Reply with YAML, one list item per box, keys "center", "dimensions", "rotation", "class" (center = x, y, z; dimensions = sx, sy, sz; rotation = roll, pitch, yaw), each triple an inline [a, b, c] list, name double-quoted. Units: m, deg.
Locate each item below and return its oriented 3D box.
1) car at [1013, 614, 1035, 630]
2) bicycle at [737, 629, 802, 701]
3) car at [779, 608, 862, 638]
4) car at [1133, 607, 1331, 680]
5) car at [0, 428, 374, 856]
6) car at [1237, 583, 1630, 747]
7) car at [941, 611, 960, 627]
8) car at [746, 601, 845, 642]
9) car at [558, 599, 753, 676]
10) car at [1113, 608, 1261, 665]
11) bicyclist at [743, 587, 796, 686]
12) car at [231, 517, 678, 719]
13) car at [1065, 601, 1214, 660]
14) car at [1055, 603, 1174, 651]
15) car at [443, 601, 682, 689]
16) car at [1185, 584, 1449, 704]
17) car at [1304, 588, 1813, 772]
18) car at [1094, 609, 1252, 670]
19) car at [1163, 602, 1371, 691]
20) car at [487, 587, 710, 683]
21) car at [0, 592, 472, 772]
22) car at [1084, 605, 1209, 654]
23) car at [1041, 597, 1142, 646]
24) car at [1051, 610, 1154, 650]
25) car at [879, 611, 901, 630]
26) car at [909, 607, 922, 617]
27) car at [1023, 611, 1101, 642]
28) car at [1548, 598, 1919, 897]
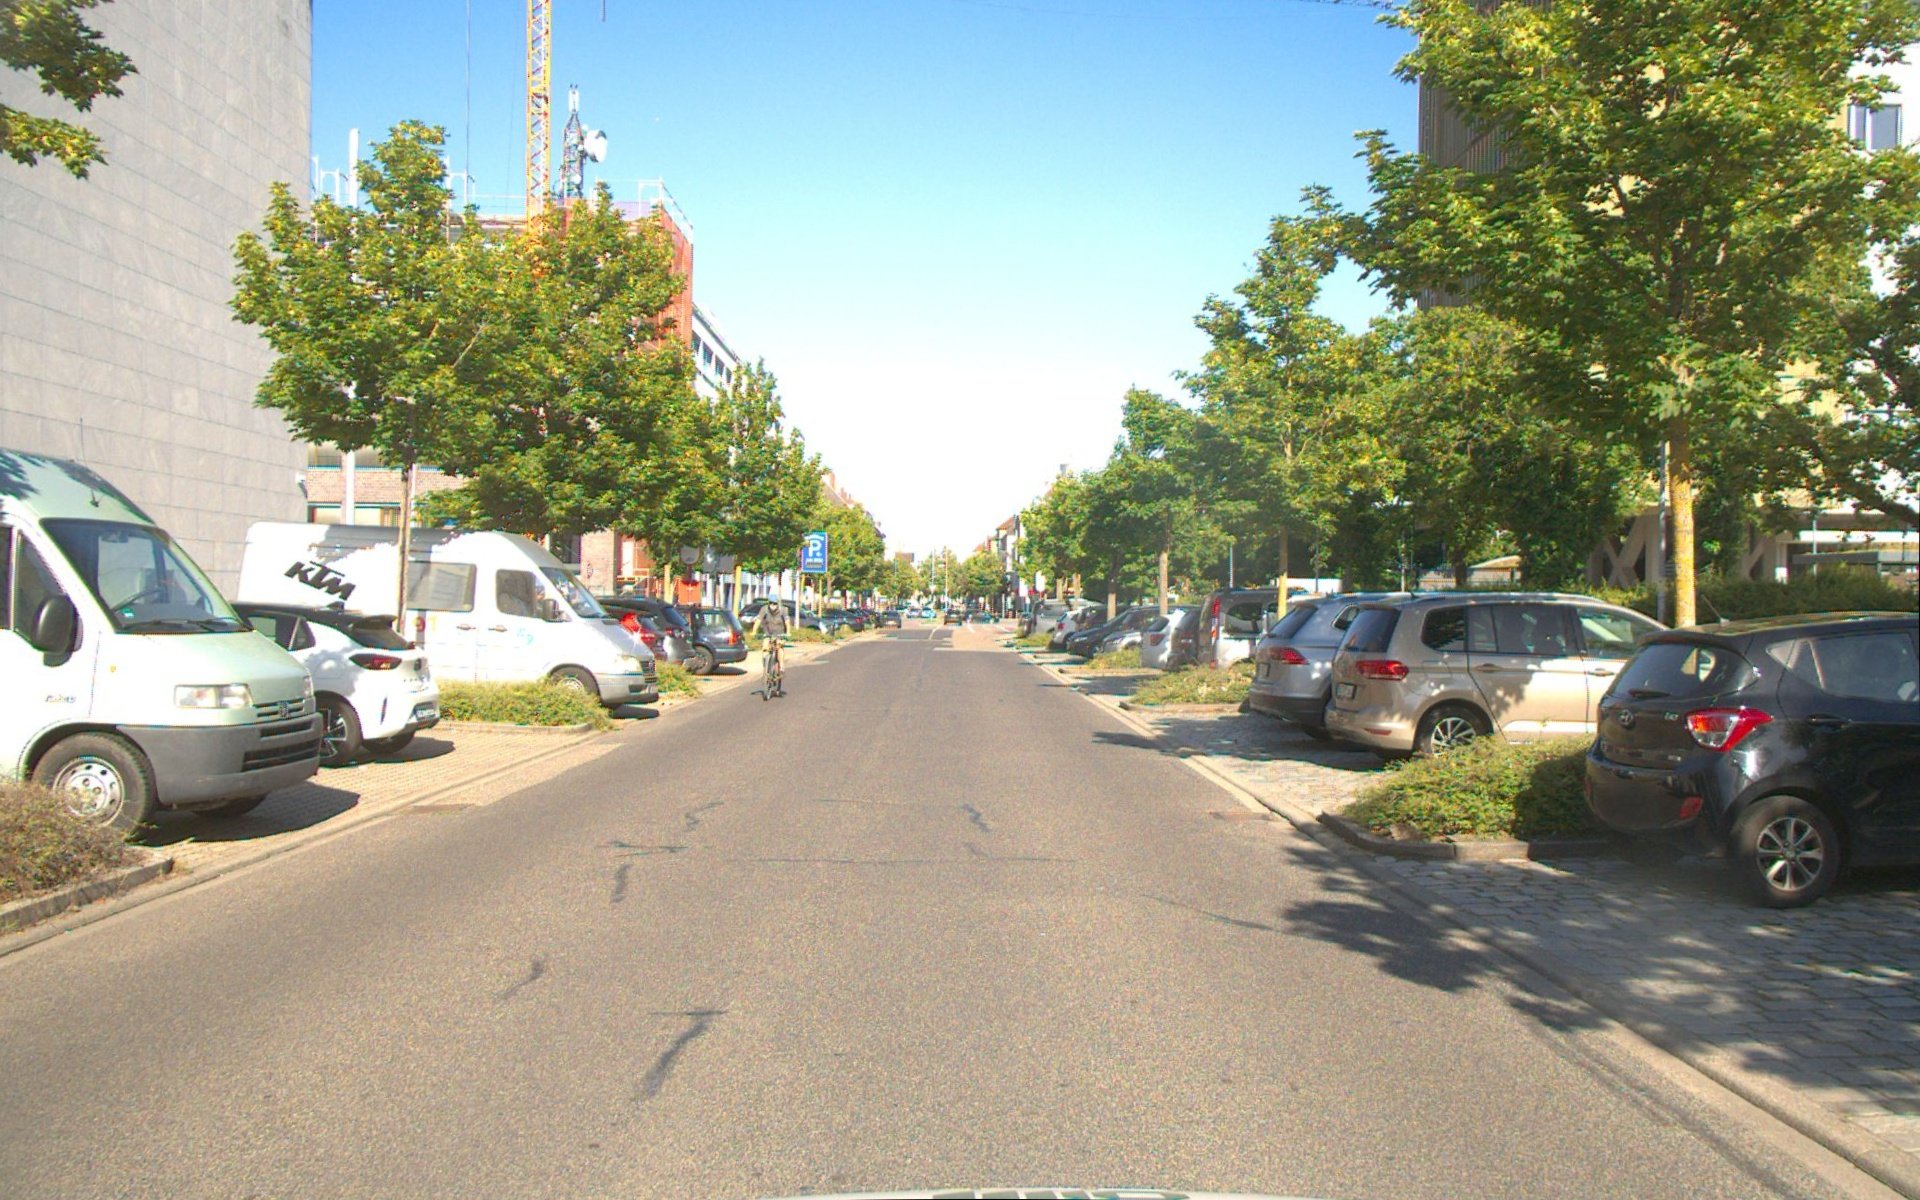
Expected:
- center: [6.537, 2.266, 169.927]
  dimensions: [1.949, 1.500, 4.109]
  rotation: [0, 1, -2]
  class: "car"
- center: [-3.160, 1.062, 27.546]
  dimensions: [0.683, 1.130, 2.080]
  rotation: [-1, 0, 4]
  class: "bicycle"
- center: [-7.271, 1.182, 86.583]
  dimensions: [4.245, 1.500, 1.816]
  rotation: [0, 1, -4]
  class: "car"
- center: [5.779, 0.918, 35.459]
  dimensions: [3.978, 1.451, 1.742]
  rotation: [-1, -1, 1]
  class: "car"
- center: [-6.852, 0.162, 10.839]
  dimensions: [5.141, 2.460, 2.123]
  rotation: [3, 0, 0]
  class: "car"
- center: [5.197, 0.681, 18.526]
  dimensions: [3.821, 1.725, 1.940]
  rotation: [0, 1, -3]
  class: "car"
- center: [-0.955, 1.927, 165.994]
  dimensions: [1.774, 1.500, 4.111]
  rotation: [0, 1, 0]
  class: "car"
- center: [-7.120, 0.922, 71.798]
  dimensions: [4.175, 1.694, 1.599]
  rotation: [0, 0, -1]
  class: "car"
- center: [-6.777, 0.827, 37.184]
  dimensions: [4.048, 1.518, 1.868]
  rotation: [2, 1, -4]
  class: "car"
- center: [6.176, 0.988, 45.257]
  dimensions: [3.785, 1.531, 1.651]
  rotation: [0, 0, -3]
  class: "car"
- center: [-3.165, 0.595, 27.604]
  dimensions: [0.669, 1.608, 1.061]
  rotation: [-1, -1, 4]
  class: "bicyclist"
- center: [-6.824, 0.236, 22.738]
  dimensions: [5.436, 2.452, 1.988]
  rotation: [2, 0, 1]
  class: "car"
- center: [5.113, 0.862, 47.544]
  dimensions: [4.060, 1.607, 1.740]
  rotation: [0, 0, -2]
  class: "car"
- center: [5.296, 0.940, 57.084]
  dimensions: [3.905, 1.610, 2.031]
  rotation: [0, -1, 0]
  class: "car"
- center: [-7.227, 0.811, 30.354]
  dimensions: [3.905, 1.544, 1.855]
  rotation: [0, -1, 0]
  class: "car"
- center: [6.019, 0.718, 28.215]
  dimensions: [4.036, 1.961, 1.978]
  rotation: [0, 1, -3]
  class: "car"
- center: [5.667, 0.722, 16.002]
  dimensions: [4.235, 1.636, 1.910]
  rotation: [0, 0, -4]
  class: "car"
- center: [5.438, 1.003, 42.500]
  dimensions: [3.821, 1.512, 1.742]
  rotation: [0, 0, -1]
  class: "car"
- center: [5.679, 0.855, 30.864]
  dimensions: [3.533, 1.576, 1.706]
  rotation: [0, 1, -3]
  class: "car"
- center: [-7.093, 0.679, 32.699]
  dimensions: [3.904, 1.693, 1.828]
  rotation: [2, -1, 2]
  class: "car"
- center: [-6.924, 0.749, 16.036]
  dimensions: [3.751, 1.497, 1.849]
  rotation: [2, 0, 1]
  class: "car"
- center: [6.075, 0.981, 54.319]
  dimensions: [3.905, 1.565, 1.861]
  rotation: [0, -1, 0]
  class: "car"
- center: [5.192, 0.836, 65.705]
  dimensions: [3.905, 1.912, 1.682]
  rotation: [0, 0, 0]
  class: "car"
- center: [5.280, 1.111, 61.721]
  dimensions: [3.689, 1.485, 1.817]
  rotation: [0, -1, -1]
  class: "car"
- center: [-5.865, 1.692, 139.332]
  dimensions: [1.775, 1.500, 4.109]
  rotation: [0, 1, -1]
  class: "car"
- center: [-6.517, 1.784, 244.477]
  dimensions: [1.774, 1.500, 4.111]
  rotation: [0, 1, 0]
  class: "car"
- center: [5.090, 1.318, 82.194]
  dimensions: [3.831, 1.500, 1.758]
  rotation: [0, -2, 4]
  class: "car"
- center: [5.377, 0.758, 9.450]
  dimensions: [3.383, 1.515, 1.746]
  rotation: [-1, -1, -3]
  class: "car"
